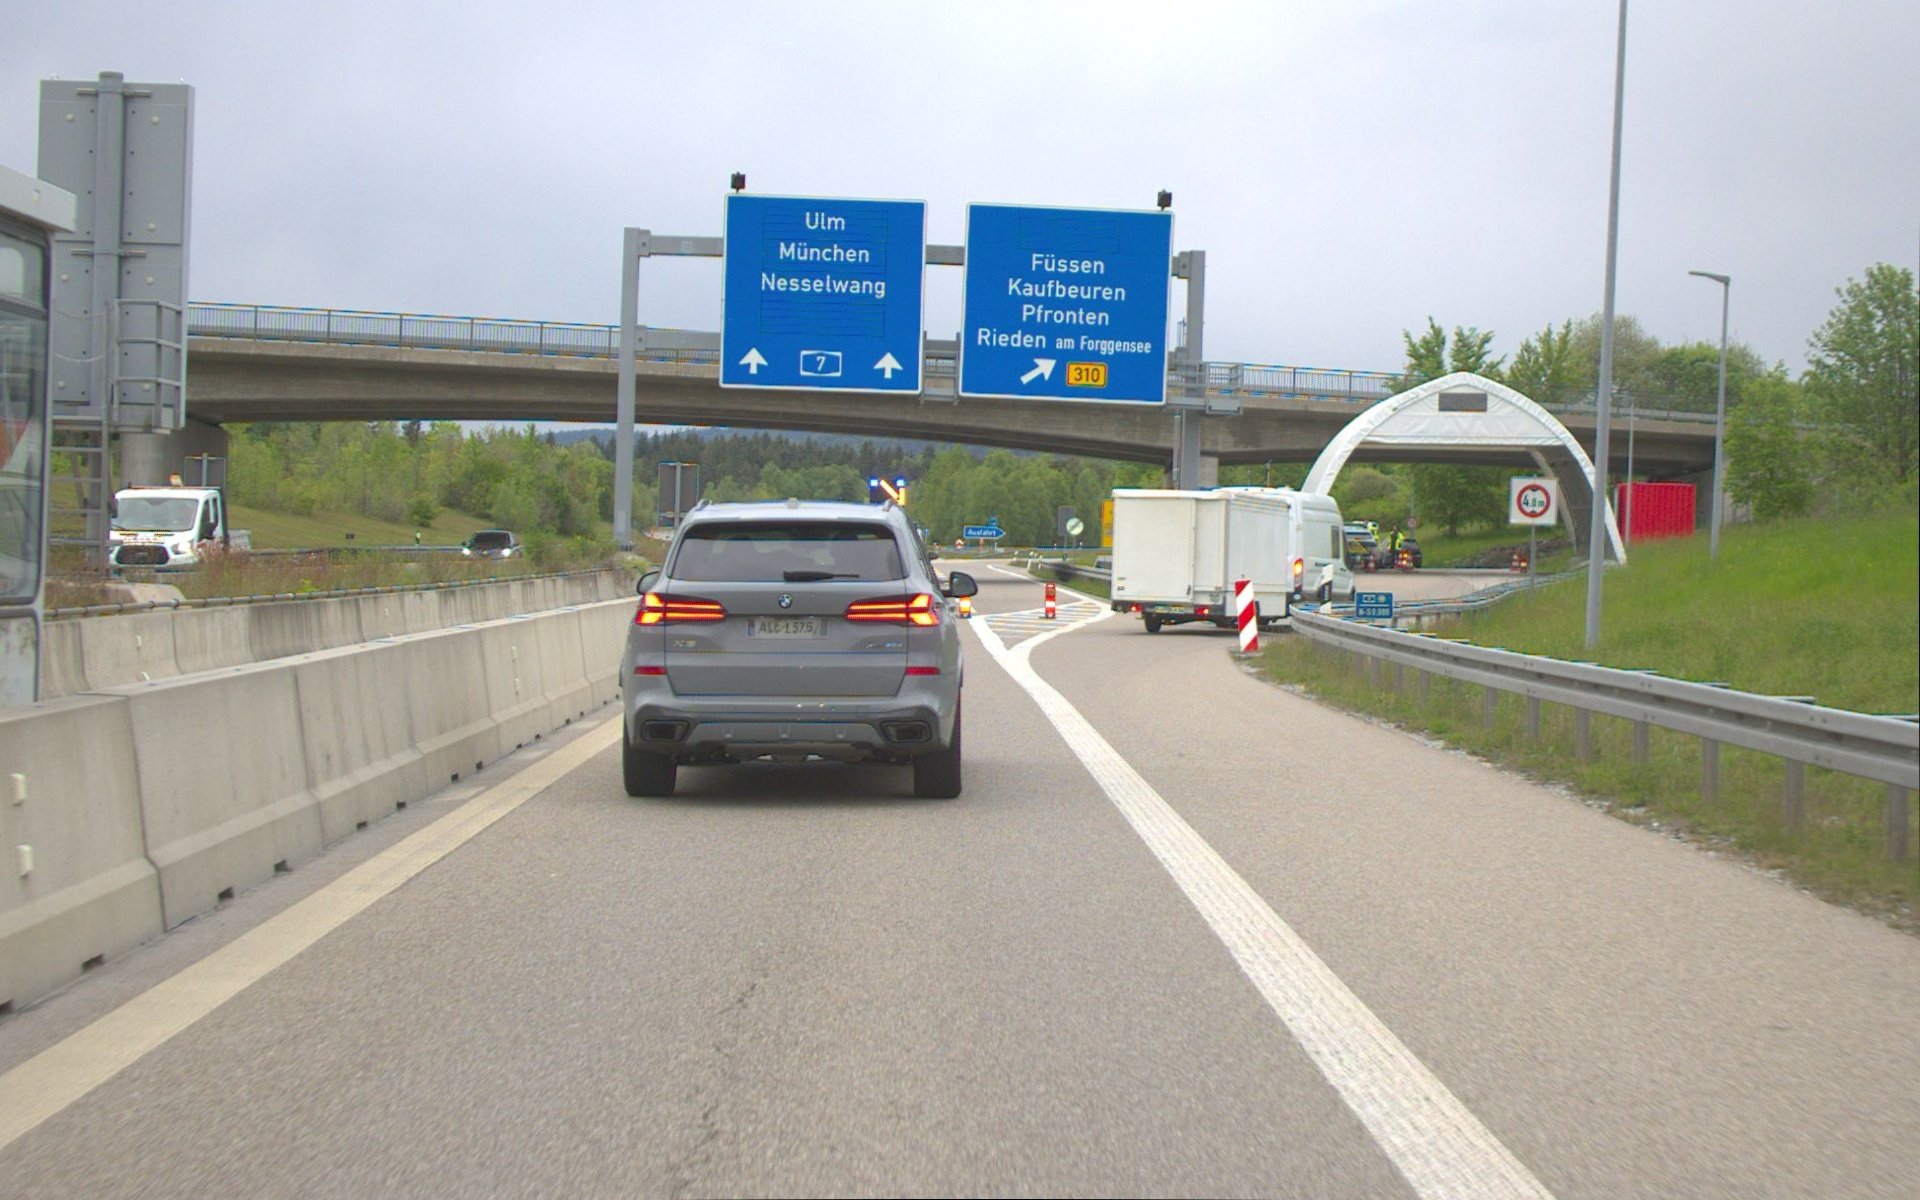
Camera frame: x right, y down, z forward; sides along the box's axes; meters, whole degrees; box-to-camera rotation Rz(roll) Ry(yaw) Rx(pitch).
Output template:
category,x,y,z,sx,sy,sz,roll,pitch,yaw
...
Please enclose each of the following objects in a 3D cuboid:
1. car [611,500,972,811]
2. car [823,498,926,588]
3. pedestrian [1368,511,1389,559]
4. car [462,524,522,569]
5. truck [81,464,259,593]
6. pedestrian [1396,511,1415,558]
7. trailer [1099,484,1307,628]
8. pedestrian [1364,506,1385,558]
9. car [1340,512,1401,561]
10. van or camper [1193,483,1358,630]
category,x,y,z,sx,sy,sz,roll,pitch,yaw
car,-0.954,0.272,21.111,1.993,1.713,4.000,1,1,0
car,-1.992,-1.349,79.542,2.286,2.006,5.051,1,2,-2
pedestrian,15.499,-2.415,127.406,0.720,1.769,0.690,0,1,4
car,-16.315,-1.871,119.949,1.607,1.495,3.838,1,1,-1
truck,-16.136,-1.463,70.553,2.356,2.471,5.989,1,1,-1
pedestrian,16.632,-2.450,128.365,0.648,1.769,0.606,0,1,2
trailer,4.434,-0.782,61.543,2.281,2.422,6.812,1,1,16
pedestrian,15.476,-2.529,128.367,0.720,1.939,0.690,0,1,4
car,14.906,-2.307,125.015,1.994,1.766,3.765,0,1,3
van or camper,6.261,-0.851,67.639,2.158,2.754,5.867,1,1,16
